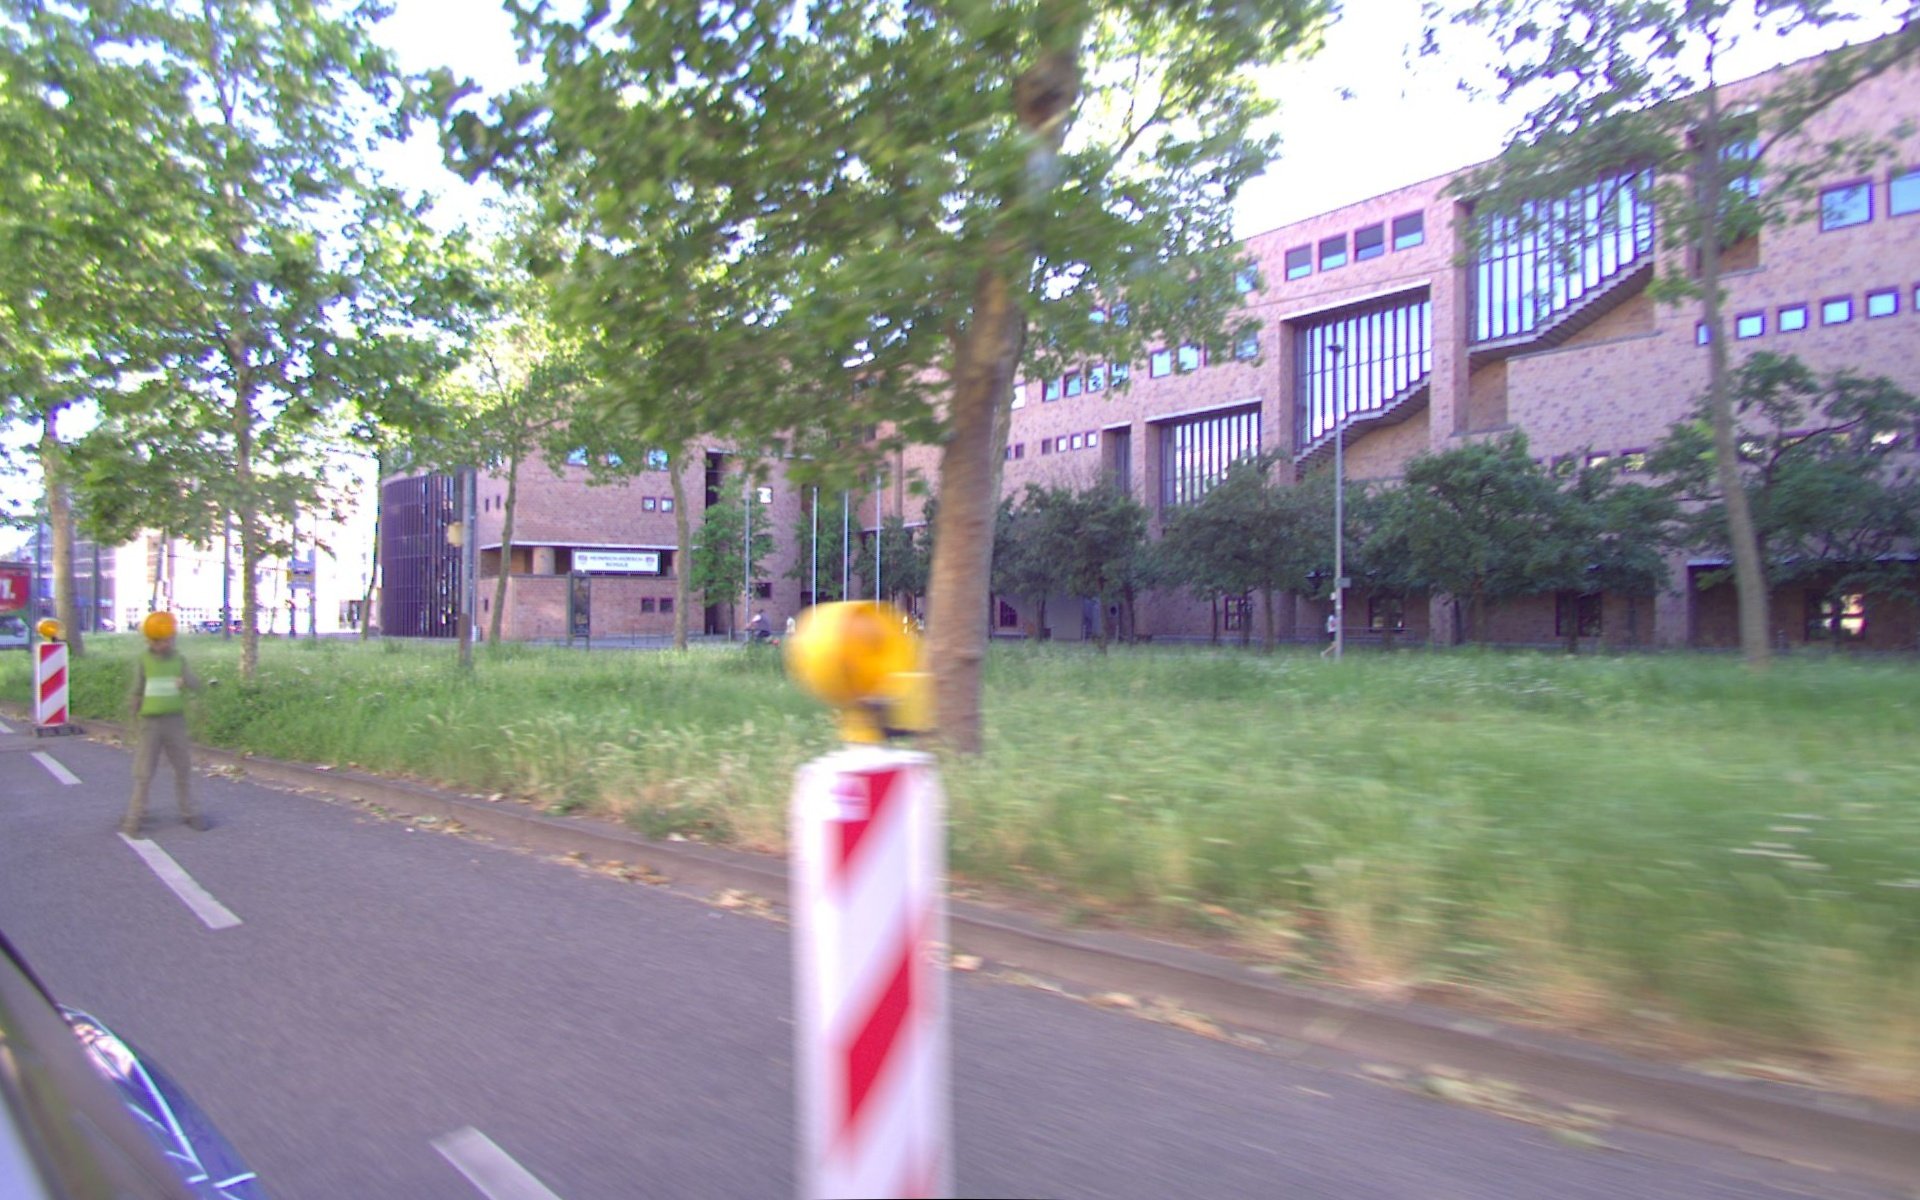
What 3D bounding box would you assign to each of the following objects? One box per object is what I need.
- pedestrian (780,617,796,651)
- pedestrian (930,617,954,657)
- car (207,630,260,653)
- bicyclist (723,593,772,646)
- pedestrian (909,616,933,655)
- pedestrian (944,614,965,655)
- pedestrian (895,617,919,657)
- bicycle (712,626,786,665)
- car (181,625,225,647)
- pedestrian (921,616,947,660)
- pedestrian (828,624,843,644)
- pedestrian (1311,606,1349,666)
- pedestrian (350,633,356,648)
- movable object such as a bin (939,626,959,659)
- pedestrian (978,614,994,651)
[{"bbox_3d":[-8.010,1.592,47.077,0.653,1.555,0.412,-2,-2,44],"label":"pedestrian"},{"bbox_3d":[-0.733,1.514,41.828,0.755,1.629,0.657,-1,-2,37],"label":"pedestrian"},{"bbox_3d":[-47.047,2.666,65.527,4.143,1.440,1.655,-1,-2,37],"label":"car"},{"bbox_3d":[-6.609,0.610,31.495,1.208,1.583,0.932,-1,-2,39],"label":"bicyclist"},{"bbox_3d":[-1.650,1.514,42.967,0.756,1.629,0.657,-1,-2,39],"label":"pedestrian"},{"bbox_3d":[-0.229,1.423,42.251,0.595,1.692,0.605,-1,-2,37],"label":"pedestrian"},{"bbox_3d":[-2.201,1.545,42.326,0.755,1.629,0.657,-1,-2,37],"label":"pedestrian"},{"bbox_3d":[-6.574,1.402,31.464,2.433,1.134,0.947,0,-1,39],"label":"bicycle"},{"bbox_3d":[-51.775,2.437,69.212,3.216,1.440,1.598,-1,-2,37],"label":"car"},{"bbox_3d":[-1.057,1.537,41.094,0.795,1.735,0.657,-1,-2,37],"label":"pedestrian"},{"bbox_3d":[-7.533,2.062,61.251,0.628,1.207,0.659,-1,-2,28],"label":"pedestrian"},{"bbox_3d":[11.713,1.131,32.001,0.900,1.845,0.816,-1,-2,39],"label":"pedestrian"},{"bbox_3d":[-64.036,4.247,106.737,0.558,1.516,0.513,1,-3,-30],"label":"pedestrian"},{"bbox_3d":[-0.439,1.704,40.614,0.755,1.289,0.352,-1,-2,38],"label":"movable object such as a bin"},{"bbox_3d":[1.075,1.341,42.213,0.463,1.517,0.478,-1,-2,38],"label":"pedestrian"}]
